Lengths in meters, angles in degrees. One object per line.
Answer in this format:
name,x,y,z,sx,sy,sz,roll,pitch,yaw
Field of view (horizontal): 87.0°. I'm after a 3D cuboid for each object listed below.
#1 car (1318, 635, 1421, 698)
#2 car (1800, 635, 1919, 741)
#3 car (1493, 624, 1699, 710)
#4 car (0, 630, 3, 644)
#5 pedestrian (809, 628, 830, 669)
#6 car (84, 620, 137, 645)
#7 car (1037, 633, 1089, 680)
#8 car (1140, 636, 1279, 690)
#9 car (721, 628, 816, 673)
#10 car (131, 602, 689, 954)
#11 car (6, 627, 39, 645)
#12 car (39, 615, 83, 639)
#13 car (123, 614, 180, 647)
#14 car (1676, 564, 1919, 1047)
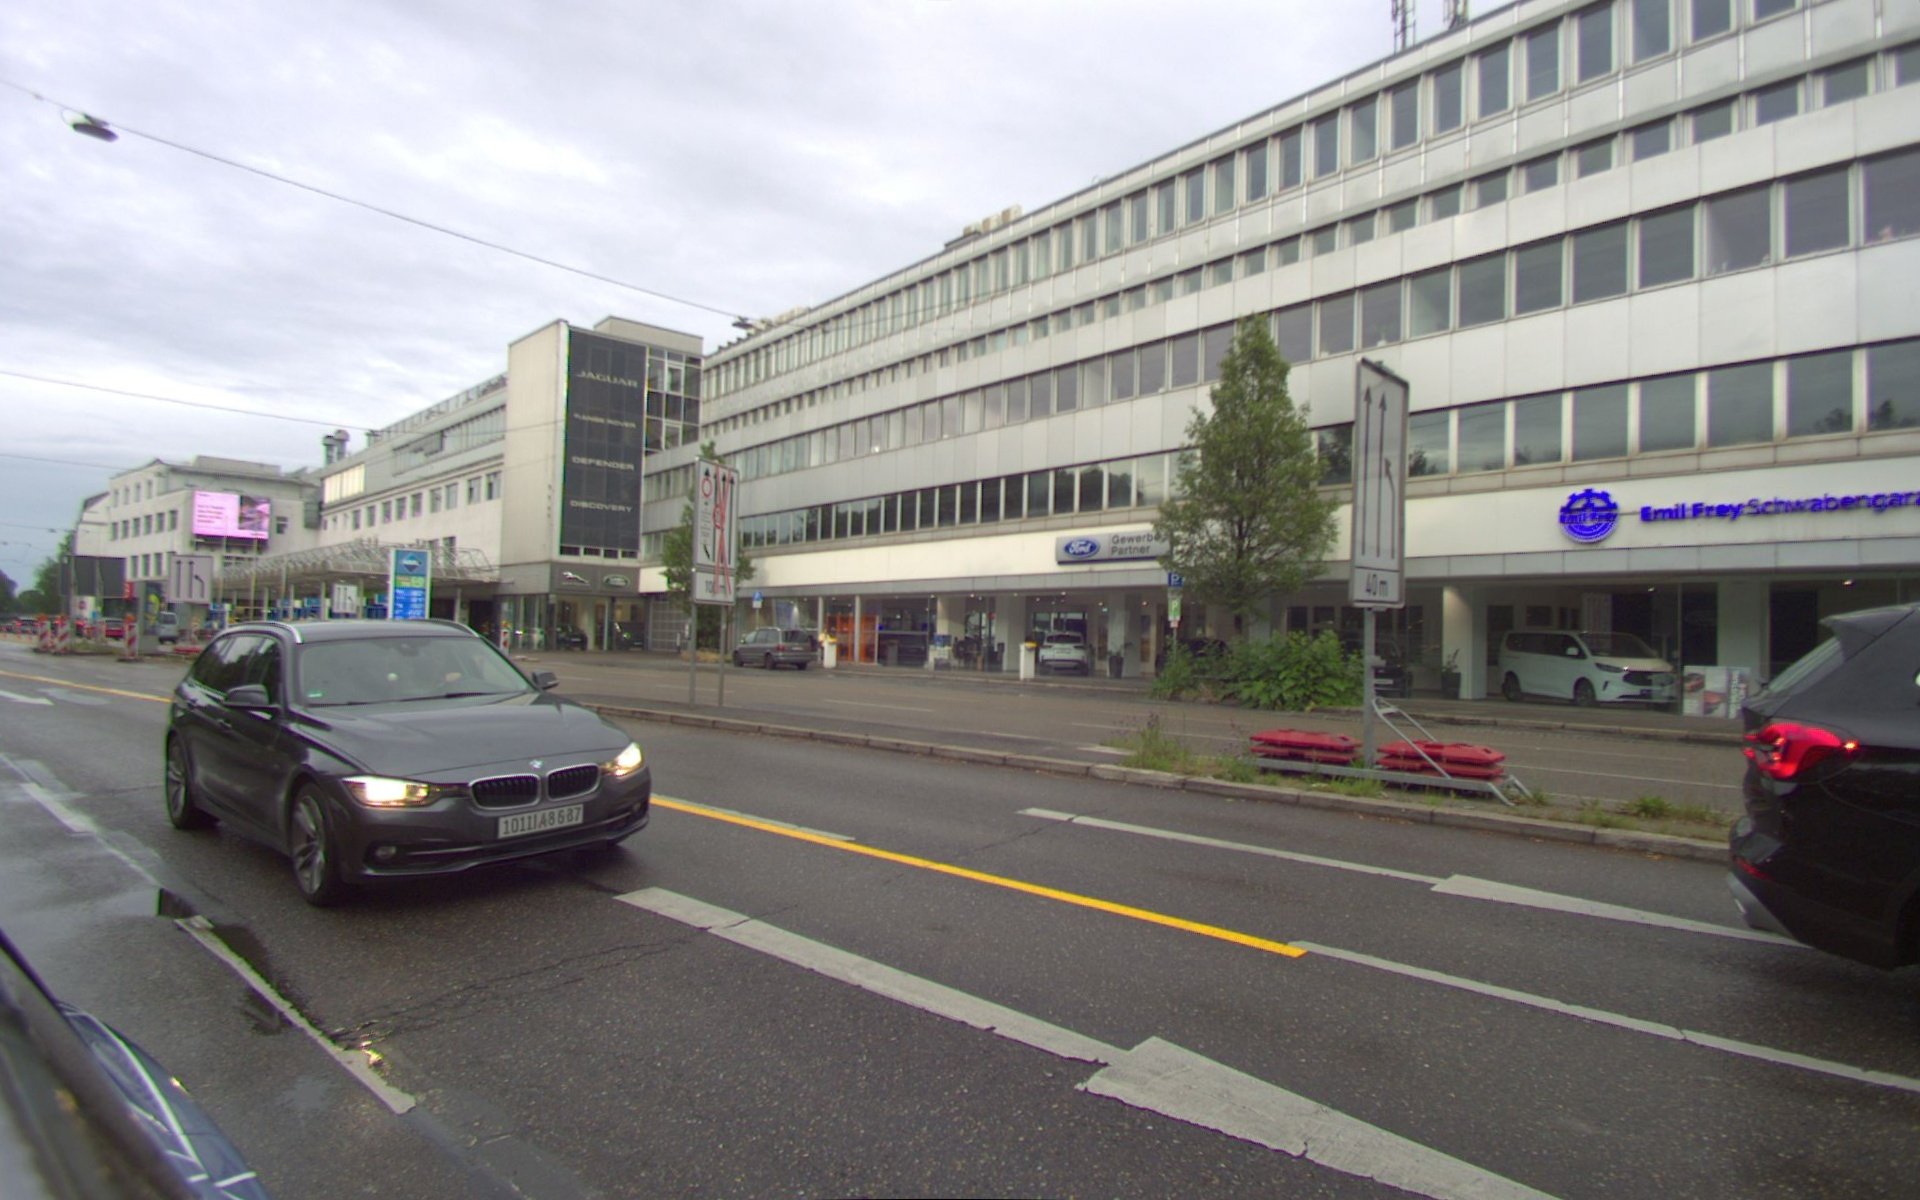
car,11.306,1.842,28.216,1.980,1.586,3.983,1,-3,13
car,19.443,1.746,19.867,1.976,2.027,5.194,2,-3,6
car,15.986,1.685,25.857,1.971,1.912,4.990,2,-3,-2
car,-122.621,4.644,127.675,4.825,1.720,1.960,-1,-3,39
pedestrian,-6.195,2.138,44.660,0.709,1.745,0.539,4,-4,-36
car,-55.575,2.146,66.200,4.369,1.514,1.811,-1,-4,40
car,3.944,2.205,39.191,1.831,1.664,4.378,2,-3,5
car,7.964,1.984,32.566,1.967,1.586,4.009,4,-4,-36
car,-8.239,2.132,43.244,1.825,1.792,4.737,5,-4,-40
car,-3.728,0.802,6.531,4.174,1.460,1.742,1,3,40
car,-85.767,3.290,92.567,4.299,1.570,1.789,-1,-3,42
car,-68.654,2.069,77.232,4.601,1.751,1.826,-1,-3,41
car,-46.556,1.744,58.225,4.299,1.799,1.716,-1,-4,41
car,5.073,0.635,2.908,4.671,1.610,1.926,-3,-2,44
